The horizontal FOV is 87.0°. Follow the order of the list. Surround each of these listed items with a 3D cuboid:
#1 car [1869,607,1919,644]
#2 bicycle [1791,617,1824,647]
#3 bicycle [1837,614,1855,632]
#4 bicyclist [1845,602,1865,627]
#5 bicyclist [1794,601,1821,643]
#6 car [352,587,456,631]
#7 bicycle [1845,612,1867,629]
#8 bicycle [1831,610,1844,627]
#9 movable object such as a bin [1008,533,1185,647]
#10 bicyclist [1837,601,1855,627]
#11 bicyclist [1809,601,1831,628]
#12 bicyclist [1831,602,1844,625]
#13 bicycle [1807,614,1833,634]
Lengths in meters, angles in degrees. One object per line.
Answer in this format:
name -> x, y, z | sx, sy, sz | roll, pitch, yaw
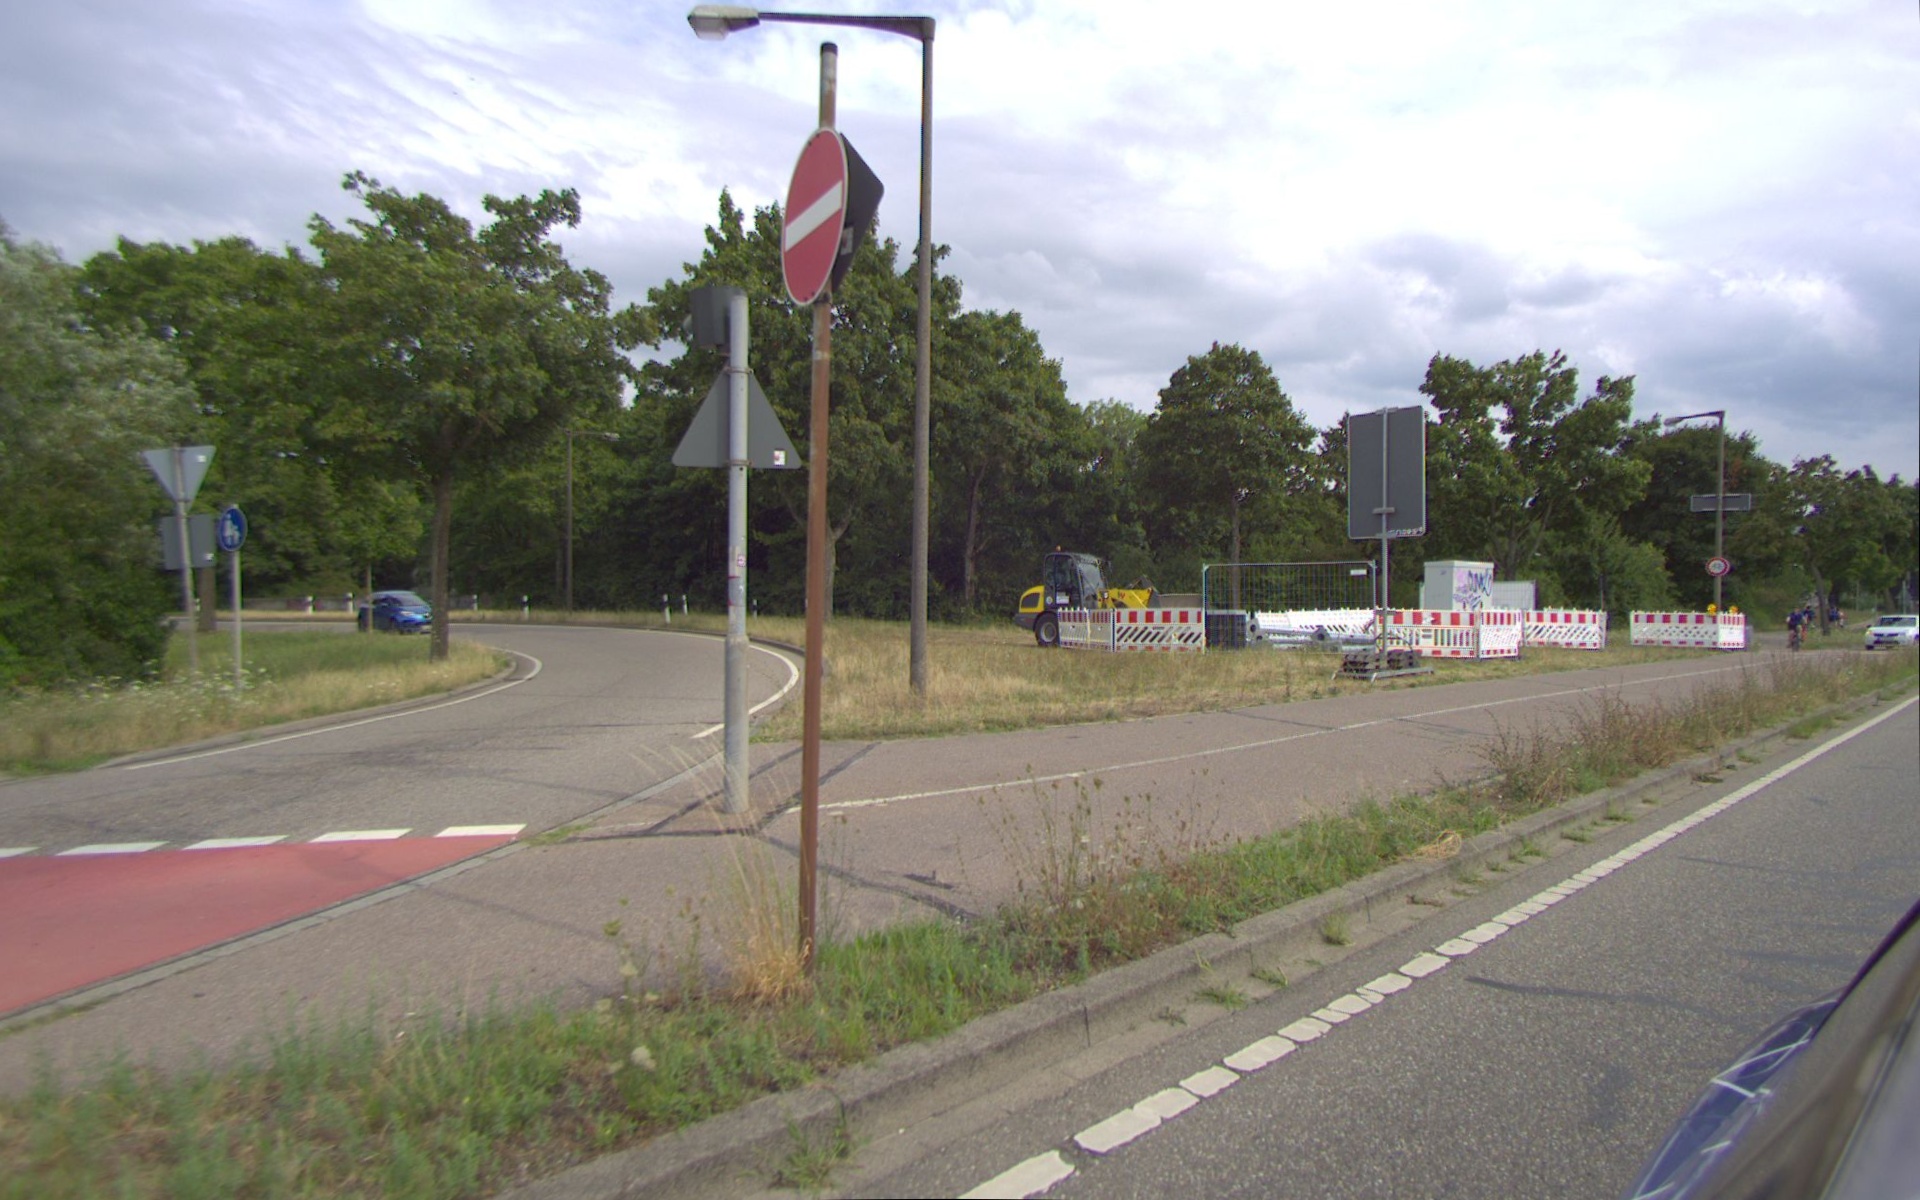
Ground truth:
car -> 40.914, 1.080, 43.450 | 3.923, 1.521, 1.853 | 0, -1, -34
bicycle -> 34.293, 1.278, 40.946 | 1.945, 1.162, 0.575 | 1, 1, -38
bicycle -> 53.136, 1.377, 60.702 | 2.158, 1.050, 0.596 | 1, 0, -43
bicyclist -> 55.623, 0.889, 62.882 | 0.790, 1.492, 0.742 | 0, 0, -35
bicyclist -> 34.340, 0.895, 40.991 | 0.860, 1.679, 0.653 | 0, 0, -37
car -> -20.599, 0.292, 37.452 | 3.974, 1.537, 1.856 | 0, 0, 36
bicycle -> 55.746, 1.279, 62.958 | 1.753, 1.018, 0.622 | 1, 2, -36
bicycle -> 63.696, 1.359, 73.446 | 0.514, 1.162, 2.195 | 3, 2, 45
movable object such as a bin -> 3.497, -0.266, 26.629 | 2.063, 2.723, 4.514 | 0, 0, -37
bicyclist -> 53.116, 0.860, 60.689 | 0.942, 1.537, 0.741 | 0, 0, -44
bicyclist -> 49.423, 0.839, 58.164 | 0.940, 1.537, 0.743 | 0, 0, -35
bicyclist -> 63.653, 0.956, 73.416 | 0.768, 1.679, 0.652 | 0, 0, -45
bicycle -> 49.427, 1.366, 58.160 | 2.063, 1.018, 0.622 | -1, 4, -36
